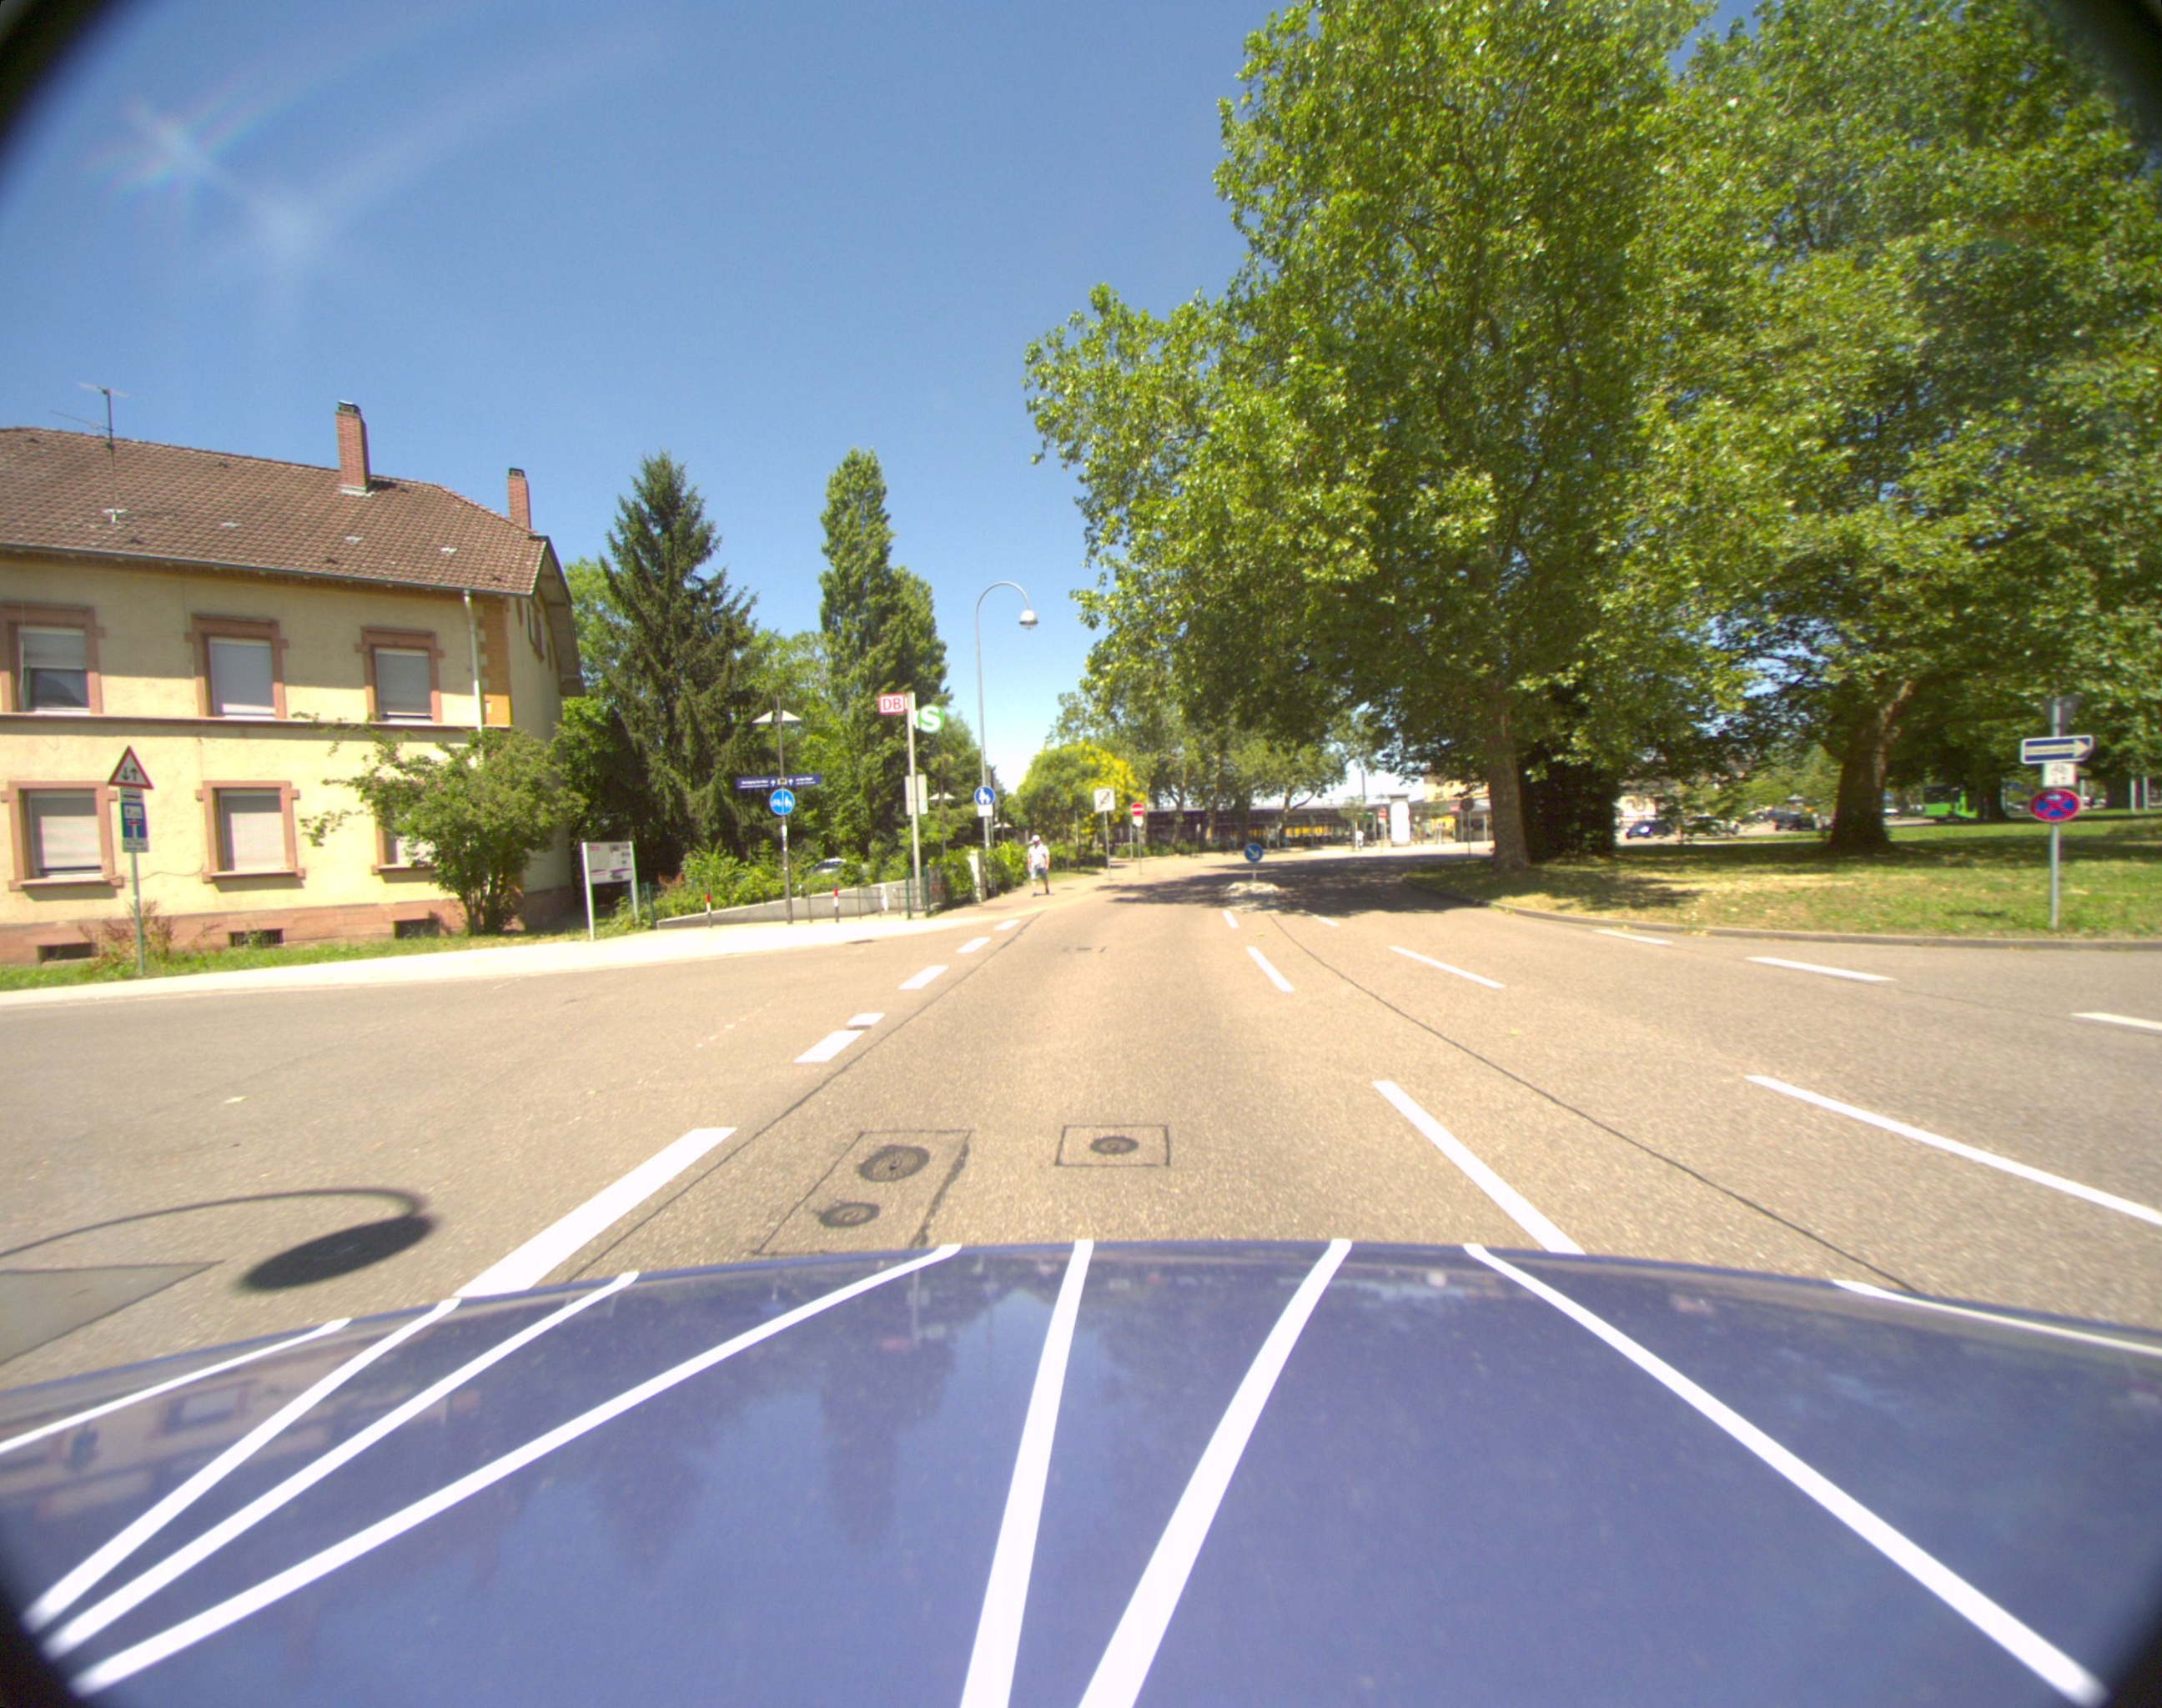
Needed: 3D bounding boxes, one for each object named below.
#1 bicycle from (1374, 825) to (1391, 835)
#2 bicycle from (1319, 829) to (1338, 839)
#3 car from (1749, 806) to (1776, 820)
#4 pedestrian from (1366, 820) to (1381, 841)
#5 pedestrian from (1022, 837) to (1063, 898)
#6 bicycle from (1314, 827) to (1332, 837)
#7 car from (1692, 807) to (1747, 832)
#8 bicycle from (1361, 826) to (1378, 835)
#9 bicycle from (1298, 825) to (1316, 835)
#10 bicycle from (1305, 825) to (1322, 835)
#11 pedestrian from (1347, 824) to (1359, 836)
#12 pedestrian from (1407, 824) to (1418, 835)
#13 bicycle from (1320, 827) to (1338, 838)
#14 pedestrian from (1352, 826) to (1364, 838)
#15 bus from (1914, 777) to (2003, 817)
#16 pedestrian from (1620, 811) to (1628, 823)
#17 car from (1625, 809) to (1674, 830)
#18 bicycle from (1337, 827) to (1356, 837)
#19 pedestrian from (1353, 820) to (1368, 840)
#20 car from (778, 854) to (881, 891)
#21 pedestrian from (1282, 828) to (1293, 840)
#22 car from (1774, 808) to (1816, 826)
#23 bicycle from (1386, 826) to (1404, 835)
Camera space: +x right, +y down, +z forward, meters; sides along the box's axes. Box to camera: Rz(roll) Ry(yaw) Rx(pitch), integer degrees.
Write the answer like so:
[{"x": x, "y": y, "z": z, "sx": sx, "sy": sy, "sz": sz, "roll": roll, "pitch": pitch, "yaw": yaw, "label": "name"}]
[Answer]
[{"x": 39.444, "y": -3.154, "z": 99.476, "sx": 2.171, "sy": 1.068, "sz": 0.669, "roll": -7, "pitch": 5, "yaw": -24, "label": "bicycle"}, {"x": 29.214, "y": -2.348, "z": 89.767, "sx": 0.671, "sy": 1.068, "sz": 2.164, "roll": -7, "pitch": 5, "yaw": -30, "label": "bicycle"}, {"x": 113.408, "y": -6.793, "z": 126.414, "sx": 4.005, "sy": 2.002, "sz": 1.996, "roll": -3, "pitch": 1, "yaw": -27, "label": "car"}, {"x": 25.423, "y": -2.039, "z": 66.074, "sx": 0.915, "sy": 1.775, "sz": 0.694, "roll": -3, "pitch": 2, "yaw": -17, "label": "pedestrian"}, {"x": -1.141, "y": 0.395, "z": 22.675, "sx": 0.913, "sy": 1.762, "sz": 0.916, "roll": 0, "pitch": 3, "yaw": 22, "label": "pedestrian"}, {"x": 30.283, "y": -2.789, "z": 94.967, "sx": 2.171, "sy": 1.068, "sz": 0.669, "roll": -7, "pitch": 5, "yaw": -24, "label": "bicycle"}, {"x": 47.644, "y": -2.580, "z": 56.665, "sx": 4.330, "sy": 1.737, "sz": 2.043, "roll": -2, "pitch": 3, "yaw": -35, "label": "car"}, {"x": 38.241, "y": -3.126, "z": 100.671, "sx": 0.671, "sy": 1.068, "sz": 2.164, "roll": -7, "pitch": 5, "yaw": -23, "label": "bicycle"}, {"x": 29.019, "y": -3.078, "z": 97.545, "sx": 2.171, "sy": 1.068, "sz": 0.669, "roll": -7, "pitch": 5, "yaw": -24, "label": "bicycle"}, {"x": 29.495, "y": -3.015, "z": 96.452, "sx": 2.171, "sy": 1.068, "sz": 0.669, "roll": -7, "pitch": 5, "yaw": -24, "label": "bicycle"}, {"x": 31.498, "y": -2.752, "z": 88.085, "sx": 0.832, "sy": 1.378, "sz": 0.961, "roll": -4, "pitch": 2, "yaw": -26, "label": "pedestrian"}, {"x": 40.507, "y": -2.960, "z": 92.831, "sx": 0.832, "sy": 1.297, "sz": 0.961, "roll": -4, "pitch": 2, "yaw": -26, "label": "pedestrian"}, {"x": 30.712, "y": -2.668, "z": 93.997, "sx": 2.171, "sy": 1.068, "sz": 0.669, "roll": -7, "pitch": 5, "yaw": -24, "label": "bicycle"}, {"x": 32.282, "y": -2.560, "z": 88.557, "sx": 0.832, "sy": 1.297, "sz": 0.961, "roll": -4, "pitch": 2, "yaw": -26, "label": "pedestrian"}, {"x": 80.488, "y": -5.249, "z": 69.604, "sx": 11.872, "sy": 3.284, "sz": 2.810, "roll": -3, "pitch": 1, "yaw": -28, "label": "bus"}, {"x": 54.302, "y": -3.688, "z": 75.960, "sx": 0.514, "sy": 1.225, "sz": 0.502, "roll": -4, "pitch": 2, "yaw": -33, "label": "pedestrian"}, {"x": 44.665, "y": -2.727, "z": 59.676, "sx": 4.189, "sy": 1.536, "sz": 1.774, "roll": -4, "pitch": 3, "yaw": -33, "label": "car"}, {"x": 33.918, "y": -2.791, "z": 97.077, "sx": 2.163, "sy": 1.068, "sz": 0.864, "roll": -1, "pitch": 6, "yaw": 45, "label": "bicycle"}, {"x": 24.265, "y": -2.099, "z": 65.957, "sx": 0.915, "sy": 1.726, "sz": 0.675, "roll": -3, "pitch": 2, "yaw": -10, "label": "pedestrian"}, {"x": -12.282, "y": 0.876, "z": 37.210, "sx": 4.505, "sy": 1.491, "sz": 1.766, "roll": -3, "pitch": 1, "yaw": -27, "label": "car"}, {"x": 22.690, "y": -2.187, "z": 83.442, "sx": 0.869, "sy": 1.267, "sz": 0.829, "roll": -4, "pitch": 2, "yaw": -31, "label": "pedestrian"}, {"x": 59.754, "y": -3.132, "z": 63.545, "sx": 4.006, "sy": 1.409, "sz": 1.642, "roll": -3, "pitch": 2, "yaw": -33, "label": "car"}, {"x": 39.466, "y": -2.993, "z": 95.515, "sx": 0.671, "sy": 1.068, "sz": 2.164, "roll": -7, "pitch": 5, "yaw": -23, "label": "bicycle"}]
